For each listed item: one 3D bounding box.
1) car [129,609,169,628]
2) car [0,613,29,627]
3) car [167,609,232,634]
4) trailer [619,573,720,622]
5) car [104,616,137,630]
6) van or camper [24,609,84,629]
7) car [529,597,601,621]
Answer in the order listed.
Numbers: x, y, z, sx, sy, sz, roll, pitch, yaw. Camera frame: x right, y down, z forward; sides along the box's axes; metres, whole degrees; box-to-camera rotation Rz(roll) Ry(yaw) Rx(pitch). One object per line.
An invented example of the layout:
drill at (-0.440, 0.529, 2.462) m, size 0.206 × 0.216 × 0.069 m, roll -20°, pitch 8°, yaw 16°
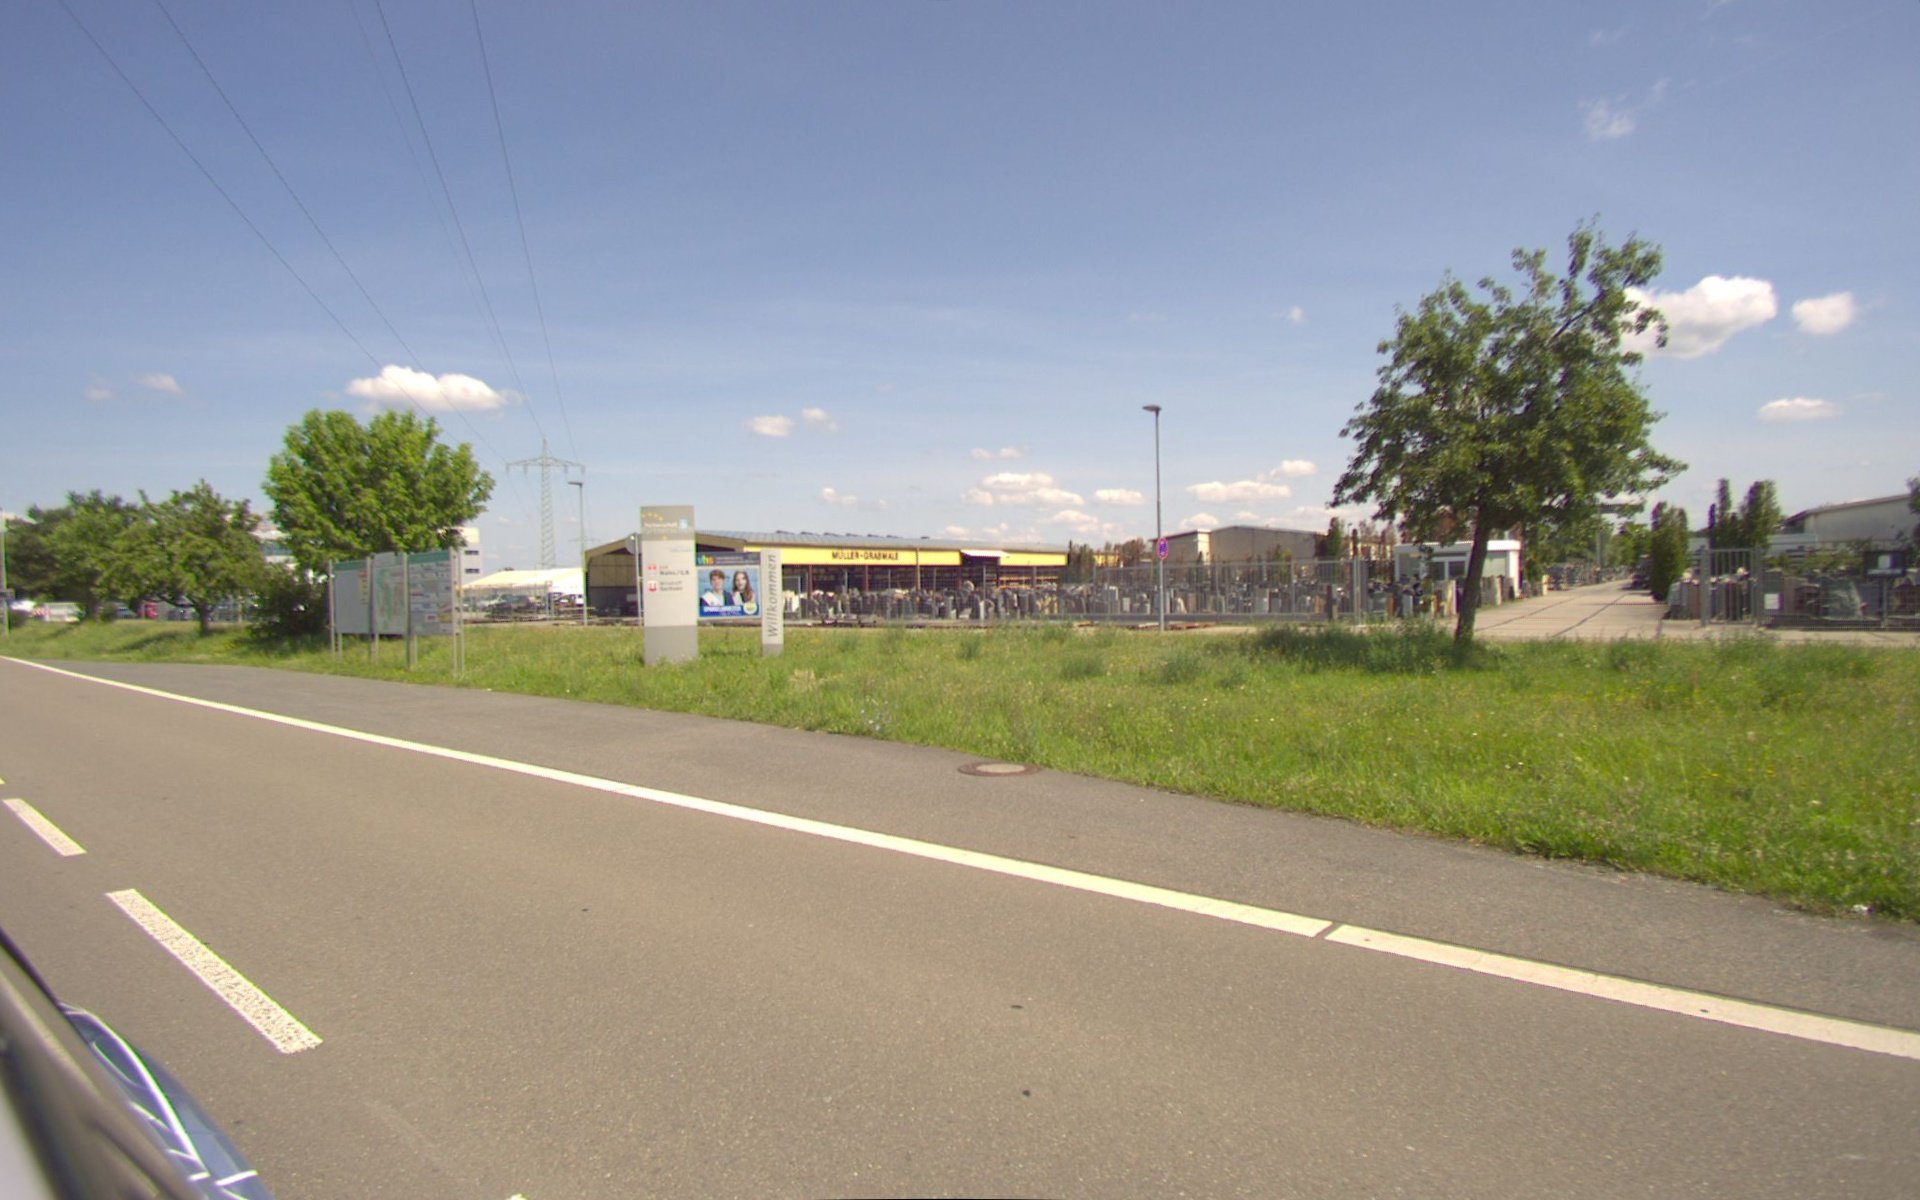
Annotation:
car at (-80.035, 1.792, 99.888) m, size 4.220 × 1.757 × 1.976 m, roll -1°, pitch 1°, yaw 36°
car at (-116.647, 2.452, 123.784) m, size 2.000 × 1.530 × 3.943 m, roll 0°, pitch 1°, yaw 43°
car at (-59.600, 1.655, 79.395) m, size 1.703 × 1.717 × 4.099 m, roll -2°, pitch 1°, yaw 8°
trailer at (-18.012, -0.185, 62.947) m, size 2.734 × 2.846 × 5.516 m, roll -1°, pitch 1°, yaw 34°
car at (-90.278, 2.486, 108.806) m, size 4.513 × 1.418 × 1.974 m, roll -1°, pitch 1°, yaw 40°
van or camper at (-120.792, 2.491, 134.996) m, size 5.492 × 2.516 × 2.085 m, roll -2°, pitch 1°, yaw -26°
car at (-27.536, 0.646, 70.583) m, size 4.201 × 1.497 × 1.994 m, roll -2°, pitch 1°, yaw 10°
